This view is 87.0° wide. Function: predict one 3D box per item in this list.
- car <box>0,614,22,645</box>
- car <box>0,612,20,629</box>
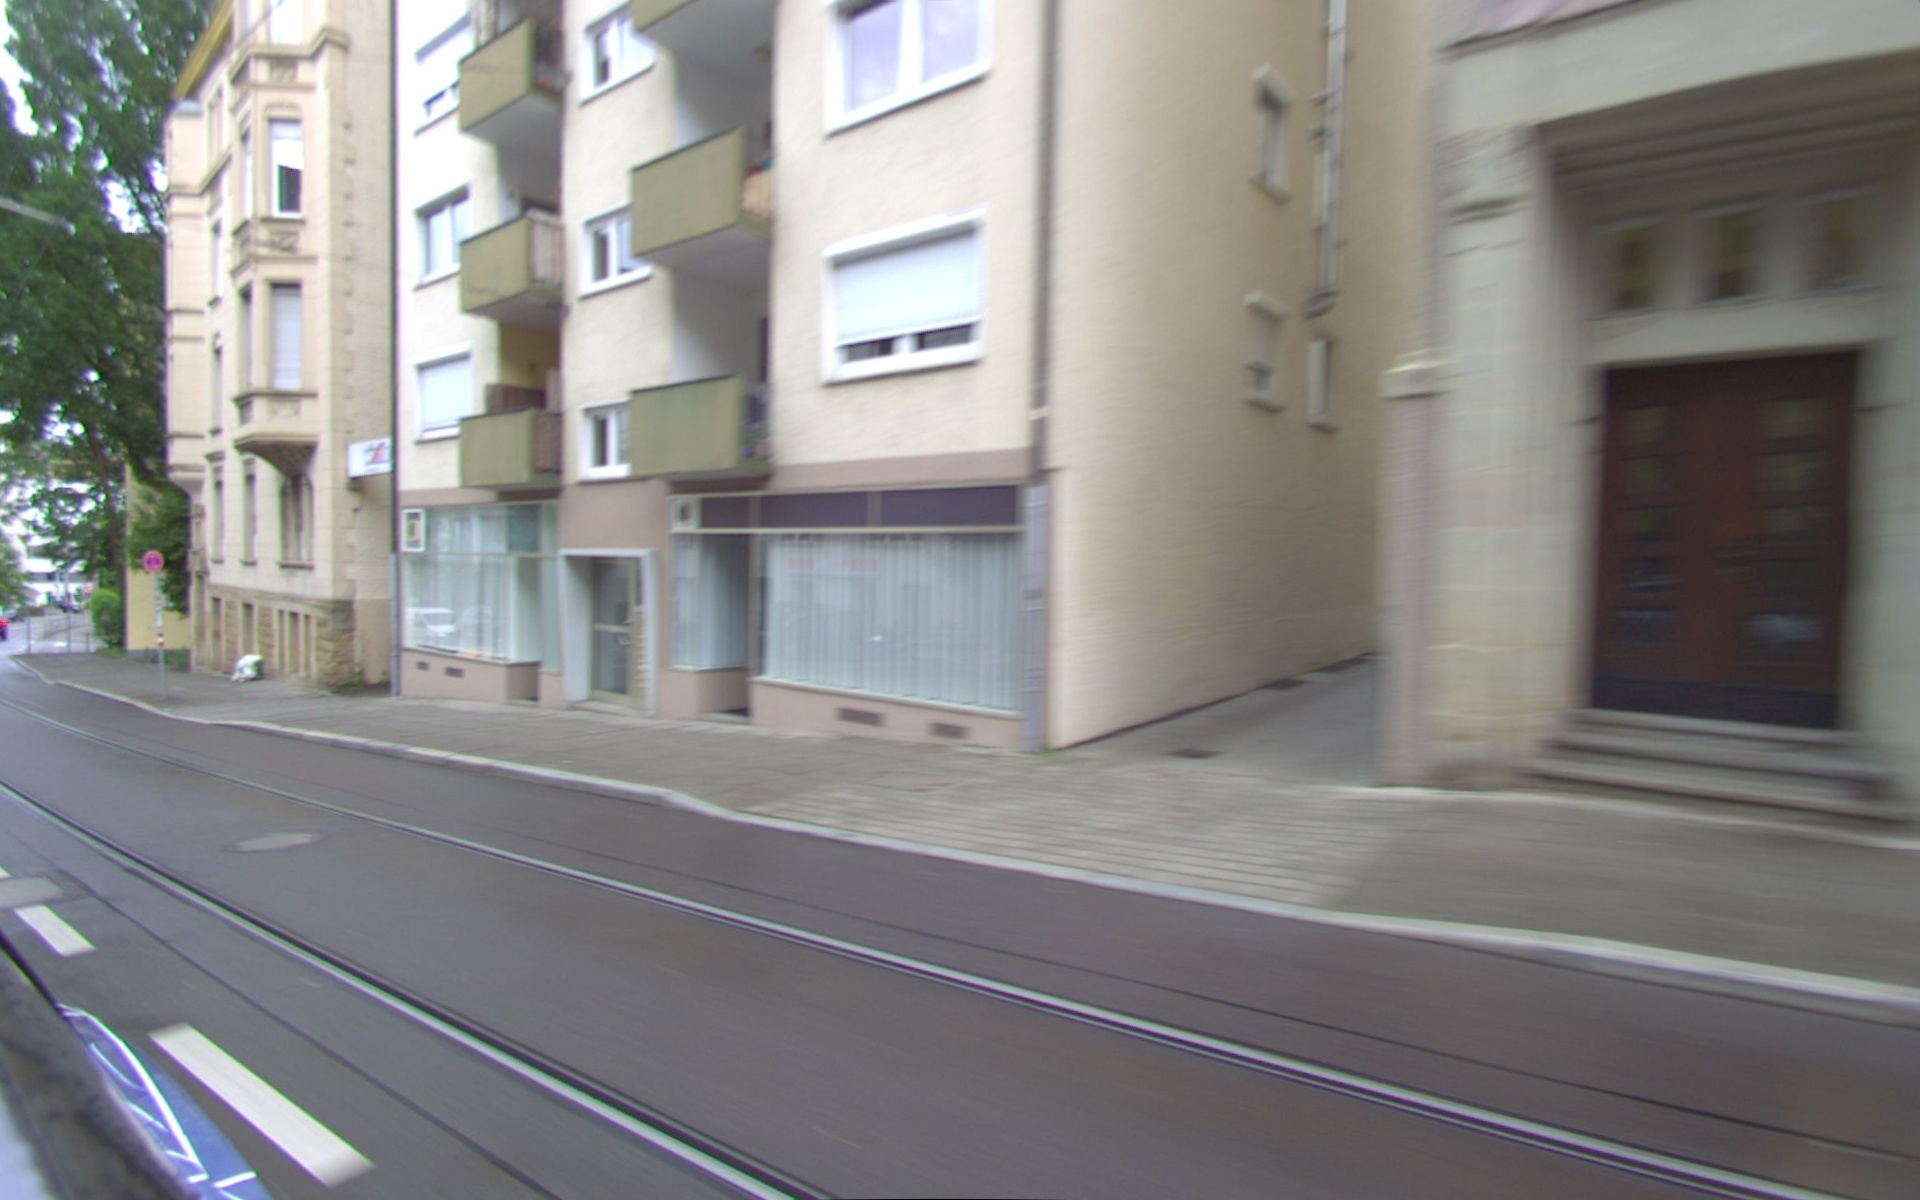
[{"bbox_3d":[-57.817,1.756,60.296,2.036,1.690,4.784,1,0,-34],"label":"car"},{"bbox_3d":[-91.770,1.979,97.105,1.588,1.453,3.699,-2,2,-32],"label":"car"}]
